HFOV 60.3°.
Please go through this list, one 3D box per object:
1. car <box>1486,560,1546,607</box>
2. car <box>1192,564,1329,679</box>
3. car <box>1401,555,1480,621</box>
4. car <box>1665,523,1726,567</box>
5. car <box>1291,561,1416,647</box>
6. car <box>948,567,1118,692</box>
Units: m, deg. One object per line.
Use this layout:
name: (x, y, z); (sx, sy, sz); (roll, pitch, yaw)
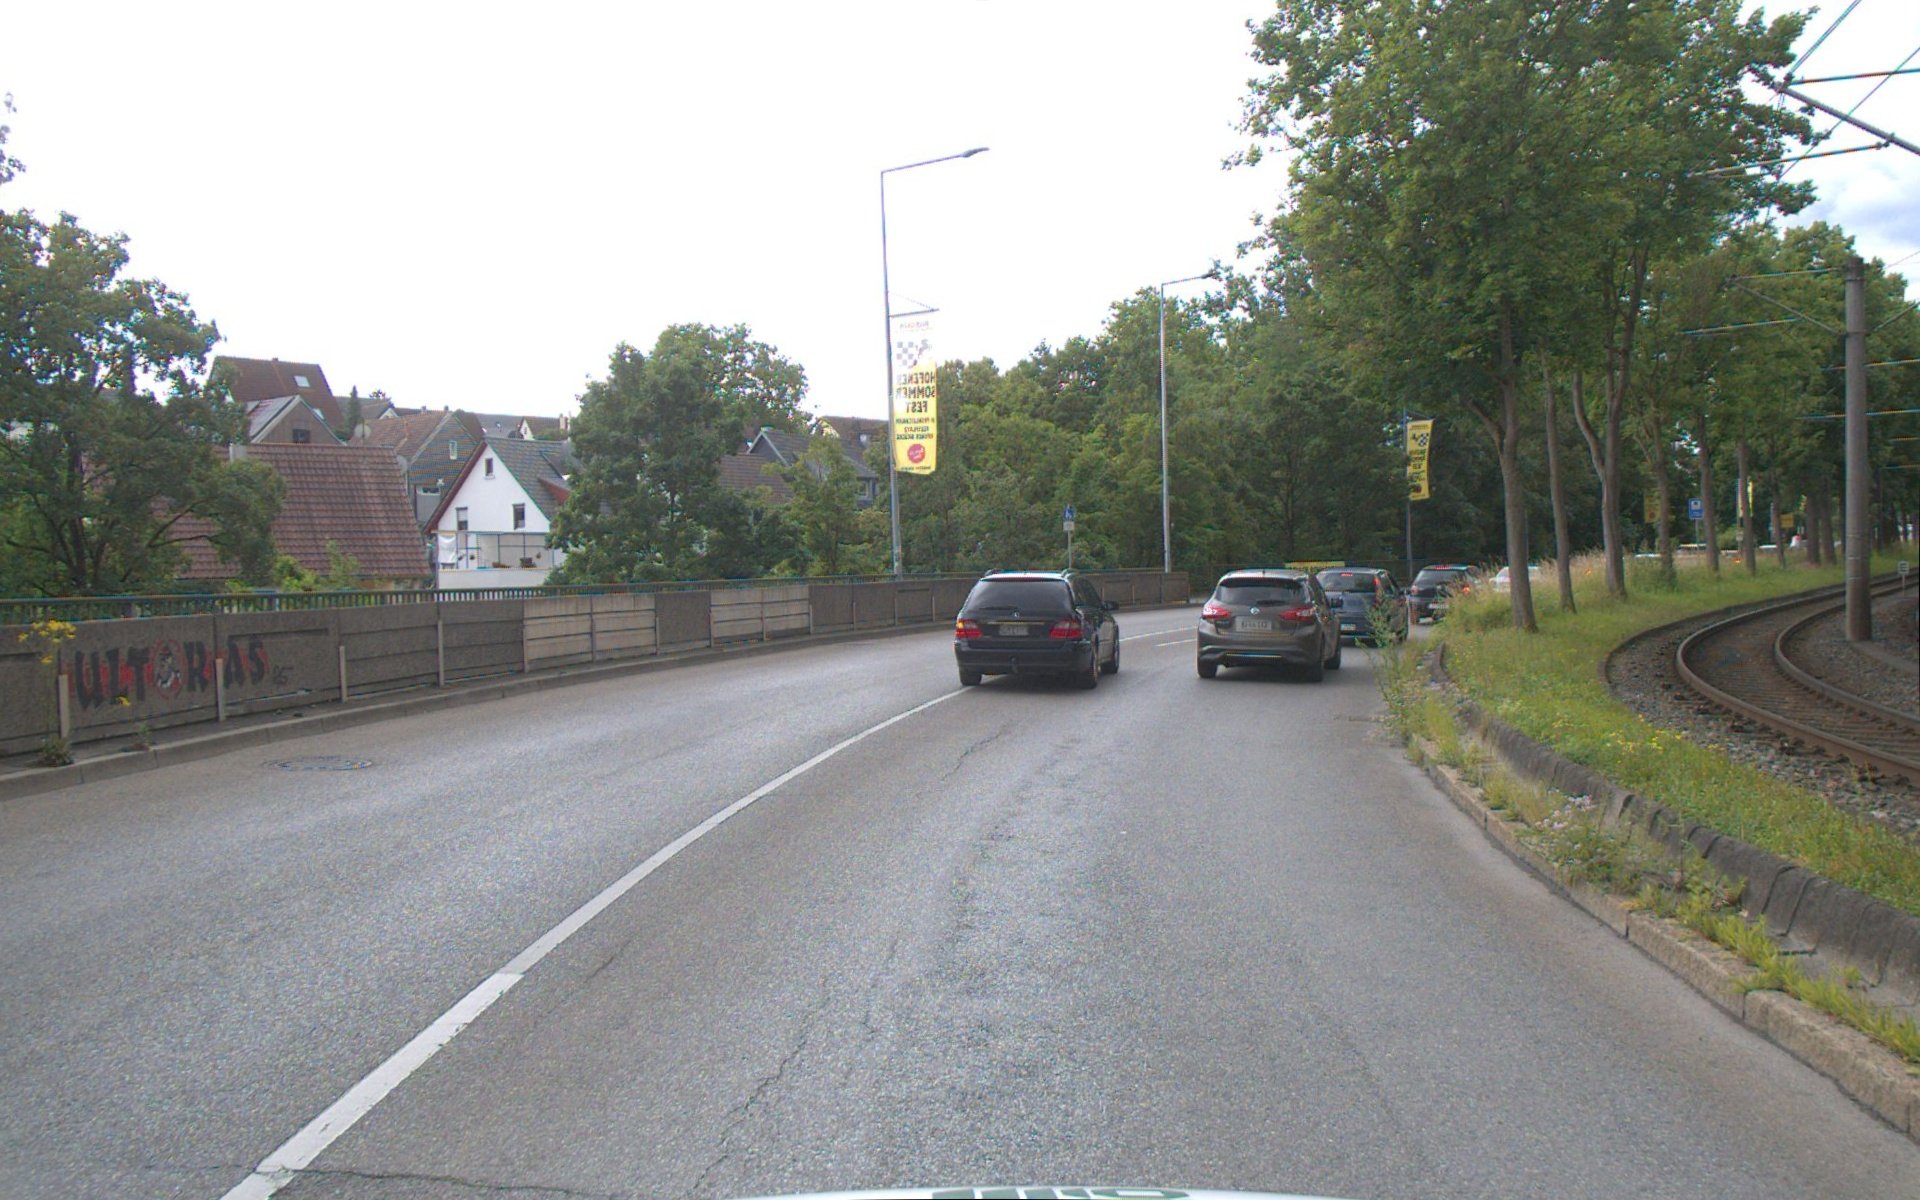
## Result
car: (17.163, -0.522, 51.016); (1.470, 1.388, 3.586); (-1, 0, 23)
car: (4.517, 0.260, 24.454); (1.737, 1.520, 4.003); (1, 1, 14)
car: (12.115, -0.313, 41.550); (1.545, 1.565, 4.000); (-1, 0, 21)
car: (33.559, -2.472, 75.426); (1.894, 1.892, 3.989); (-1, 0, 33)
car: (7.940, 0.043, 33.136); (1.854, 1.601, 4.000); (0, 1, 22)
car: (1.089, 0.320, 22.336); (1.812, 1.512, 4.425); (0, 1, 9)
